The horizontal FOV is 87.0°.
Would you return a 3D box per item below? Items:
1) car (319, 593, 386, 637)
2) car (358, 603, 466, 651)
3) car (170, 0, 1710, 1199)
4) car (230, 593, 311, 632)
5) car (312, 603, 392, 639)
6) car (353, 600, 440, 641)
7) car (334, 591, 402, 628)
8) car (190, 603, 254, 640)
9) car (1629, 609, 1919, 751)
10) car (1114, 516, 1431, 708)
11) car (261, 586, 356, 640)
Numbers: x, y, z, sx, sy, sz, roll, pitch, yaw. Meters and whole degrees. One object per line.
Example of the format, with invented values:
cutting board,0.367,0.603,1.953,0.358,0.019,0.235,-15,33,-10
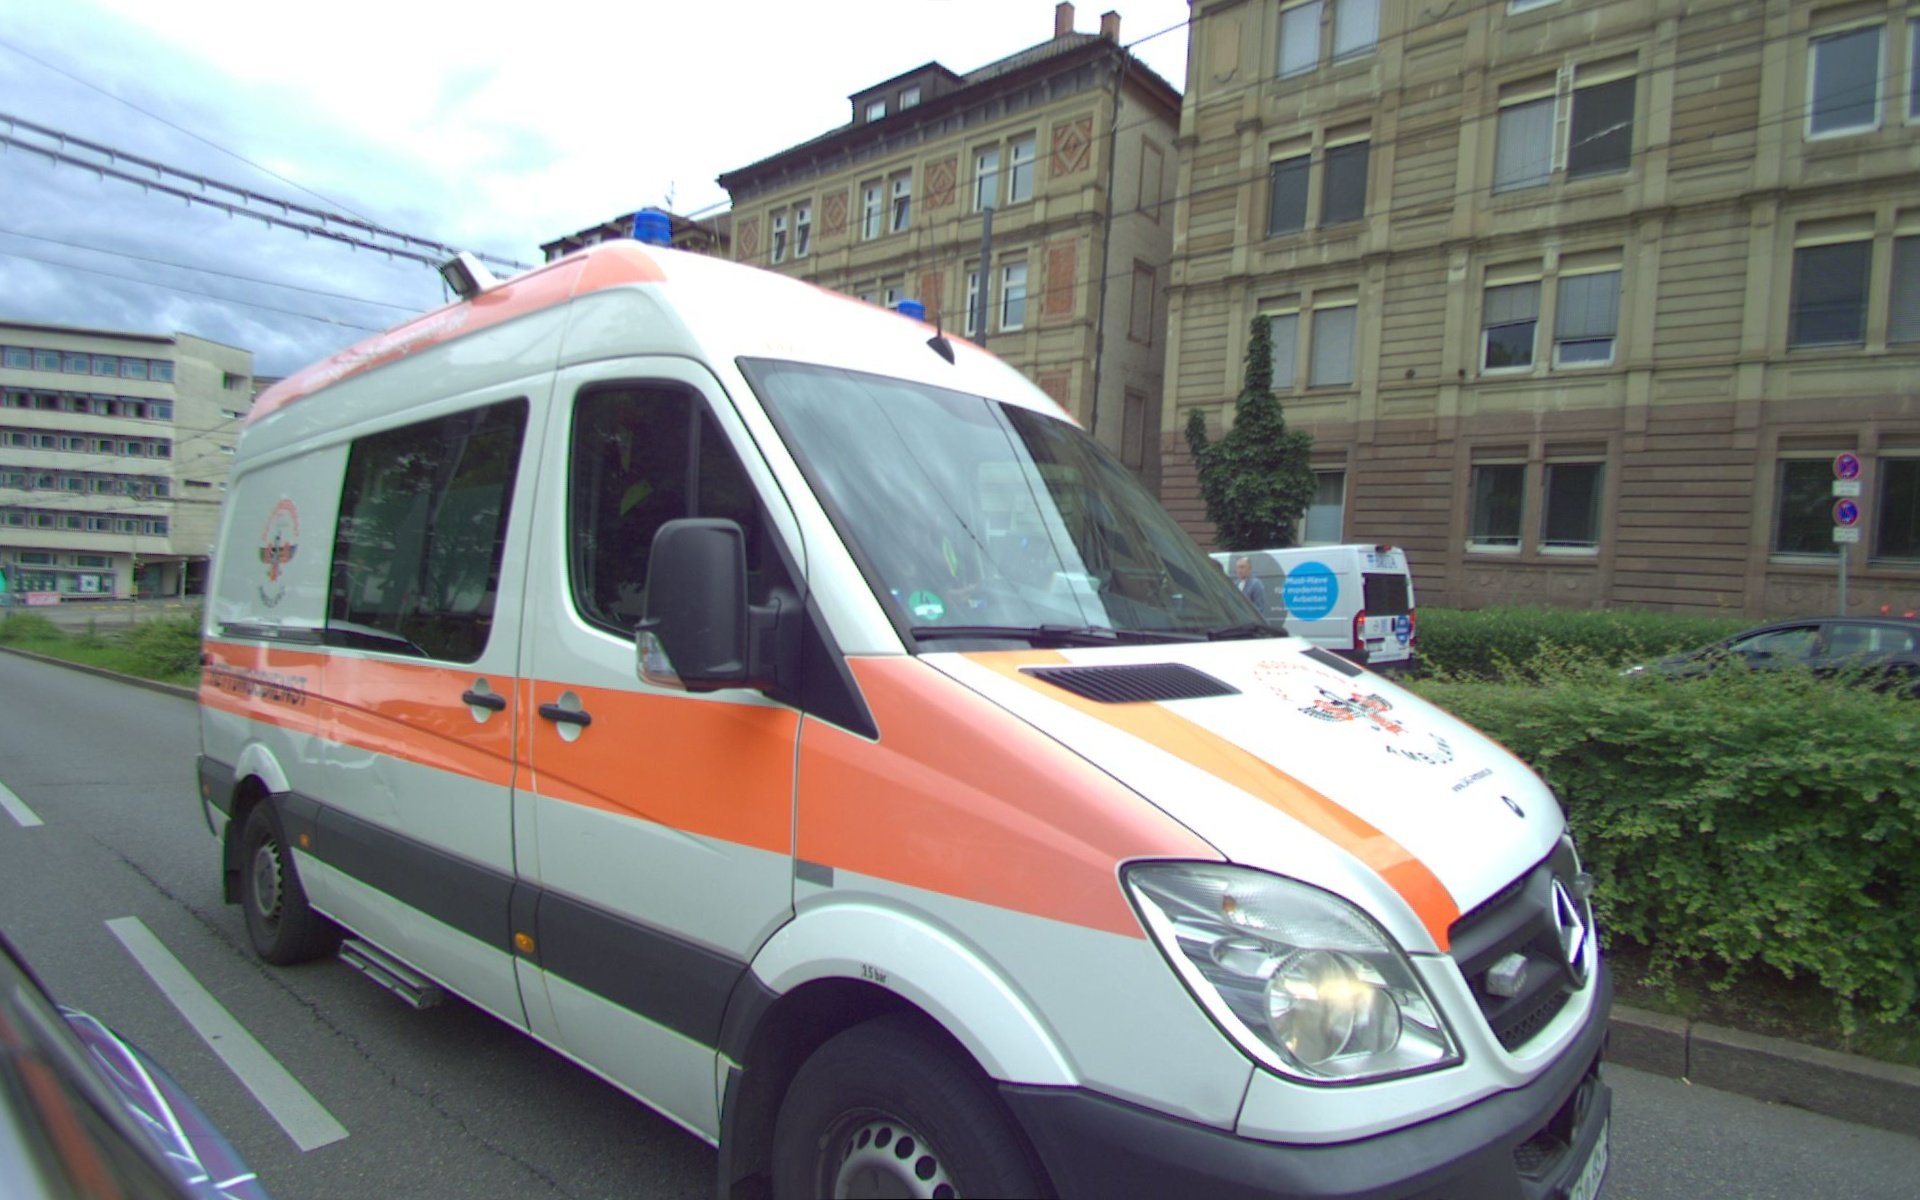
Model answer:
car,-30.830,0.758,51.320,3.915,2.137,1.771,0,-2,42
car,-18.530,0.882,34.162,3.997,1.507,1.875,0,-2,40
car,-0.958,0.316,3.732,5.851,2.720,2.012,0,-1,41
car,-29.885,0.547,43.822,3.999,1.596,1.972,0,-2,42
car,-26.615,0.899,44.225,3.999,1.522,1.863,0,-2,42
car,-22.832,0.829,40.952,3.996,1.581,1.736,0,-2,40
car,-32.433,0.500,55.404,3.994,1.930,1.825,0,-2,38
car,-35.001,1.008,47.957,3.843,1.641,1.659,0,-2,42
car,10.031,0.848,11.665,1.624,1.465,3.570,1,-1,-41
car,5.260,0.216,17.504,2.183,2.844,4.788,2,-2,-44
car,-26.136,0.540,40.536,4.749,2.029,2.118,0,-2,44
